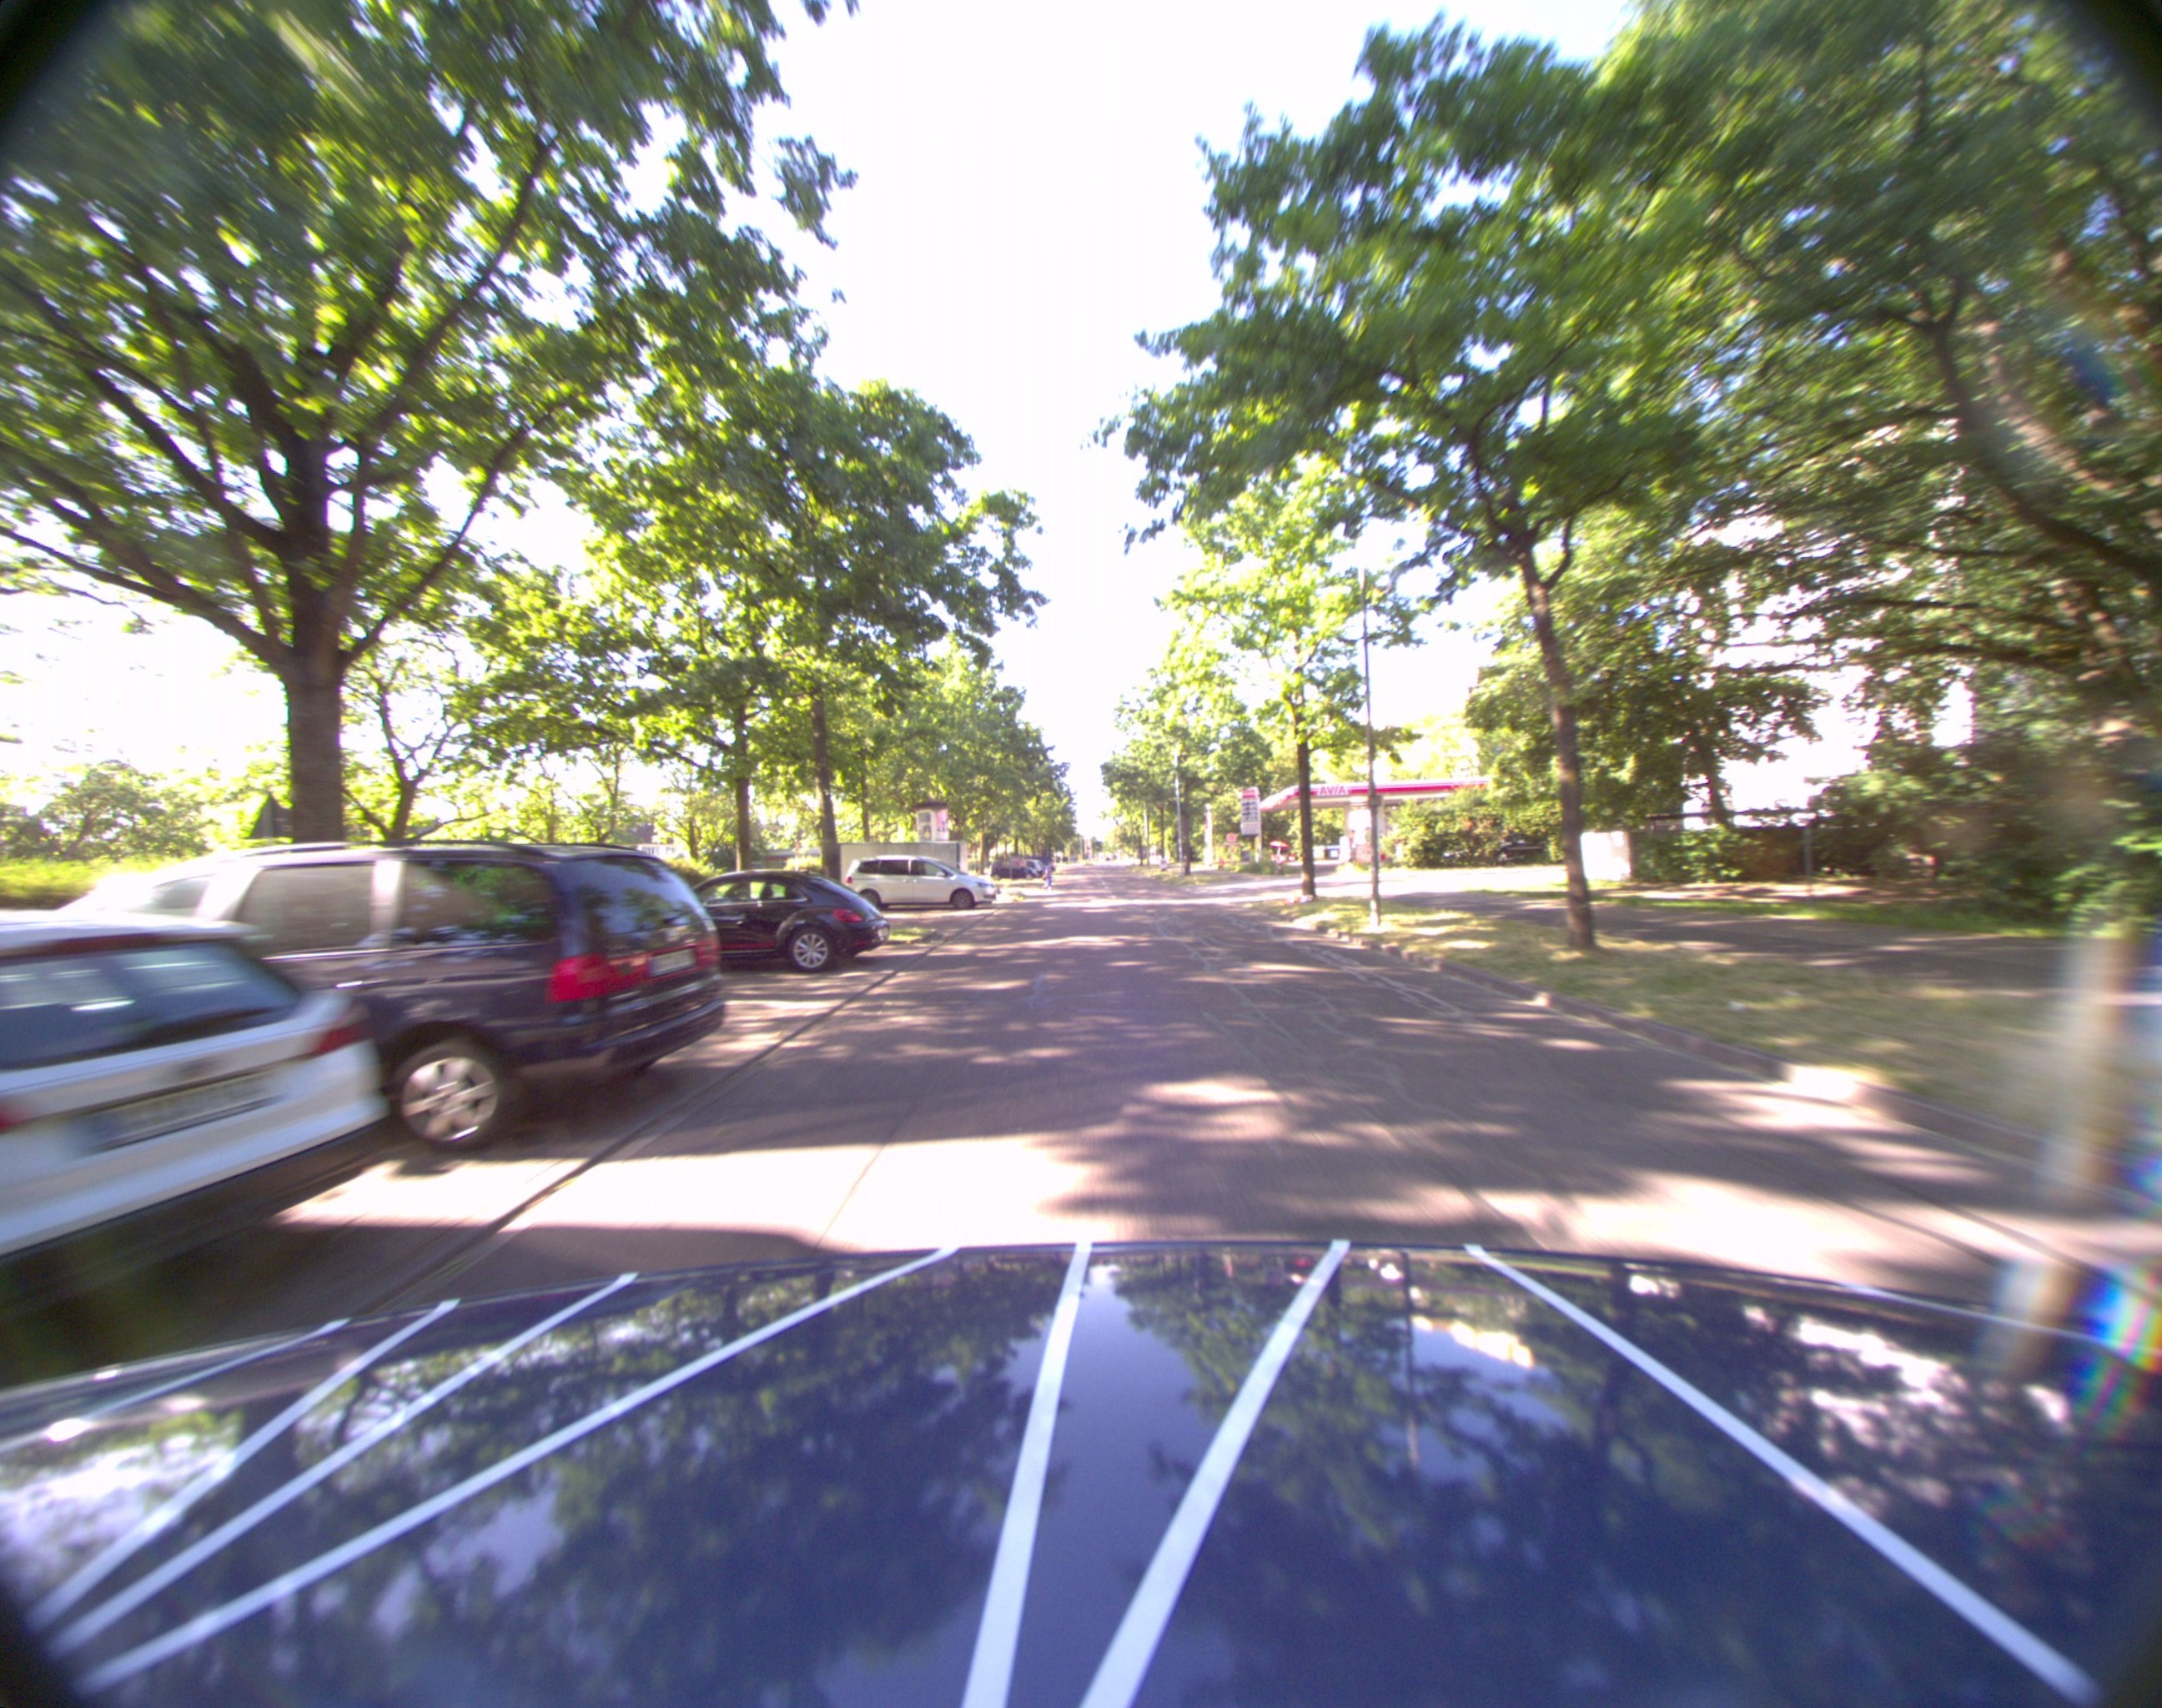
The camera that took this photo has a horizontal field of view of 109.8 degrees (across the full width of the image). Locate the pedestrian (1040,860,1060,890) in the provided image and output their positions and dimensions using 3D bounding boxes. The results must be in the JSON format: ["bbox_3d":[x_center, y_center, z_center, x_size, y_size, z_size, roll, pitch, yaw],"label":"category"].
[{"bbox_3d":[-1.560,1.036,38.213,0.942,1.491,0.885,-1,0,2],"label":"pedestrian"}]

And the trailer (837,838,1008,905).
[{"bbox_3d":[-5.644,0.606,27.426,5.788,2.304,1.686,-1,1,2],"label":"trailer"}]

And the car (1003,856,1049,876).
[{"bbox_3d":[-4.473,0.968,62.060,3.592,1.567,1.786,-1,1,2],"label":"car"}]

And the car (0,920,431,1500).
[{"bbox_3d":[-5.045,1.054,2.531,4.231,1.463,1.800,-1,0,2],"label":"car"}]

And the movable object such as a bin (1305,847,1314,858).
[{"bbox_3d":[22.746,-0.193,75.615,0.570,1.079,0.768,-2,1,1],"label":"movable object such as a bin"}]

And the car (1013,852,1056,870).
[{"bbox_3d":[-4.068,0.622,66.726,3.529,1.523,1.665,-1,1,2],"label":"car"}]

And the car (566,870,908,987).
[{"bbox_3d":[-5.052,1.064,11.659,4.255,1.510,2.078,-1,0,1],"label":"car"}]

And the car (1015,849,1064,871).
[{"bbox_3d":[-4.160,0.605,76.710,4.815,2.020,1.944,-1,1,0],"label":"car"}]

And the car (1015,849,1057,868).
[{"bbox_3d":[-4.432,0.449,74.634,4.020,1.826,1.799,-1,1,-2],"label":"car"}]

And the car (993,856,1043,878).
[{"bbox_3d":[-4.729,0.957,57.127,3.593,1.567,1.857,-1,1,-1],"label":"car"}]

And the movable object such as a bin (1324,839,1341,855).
[{"bbox_3d":[24.983,-0.682,75.529,1.307,1.533,1.163,-4,1,1],"label":"movable object such as a bin"}]

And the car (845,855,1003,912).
[{"bbox_3d":[-4.969,0.914,24.597,4.653,1.712,1.987,-1,1,1],"label":"car"}]

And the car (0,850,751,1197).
[{"bbox_3d":[-4.896,0.914,5.007,4.541,1.791,1.936,-1,1,0],"label":"car"}]

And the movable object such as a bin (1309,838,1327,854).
[{"bbox_3d":[23.561,-0.759,75.493,1.307,1.533,1.268,-2,1,1],"label":"movable object such as a bin"}]
